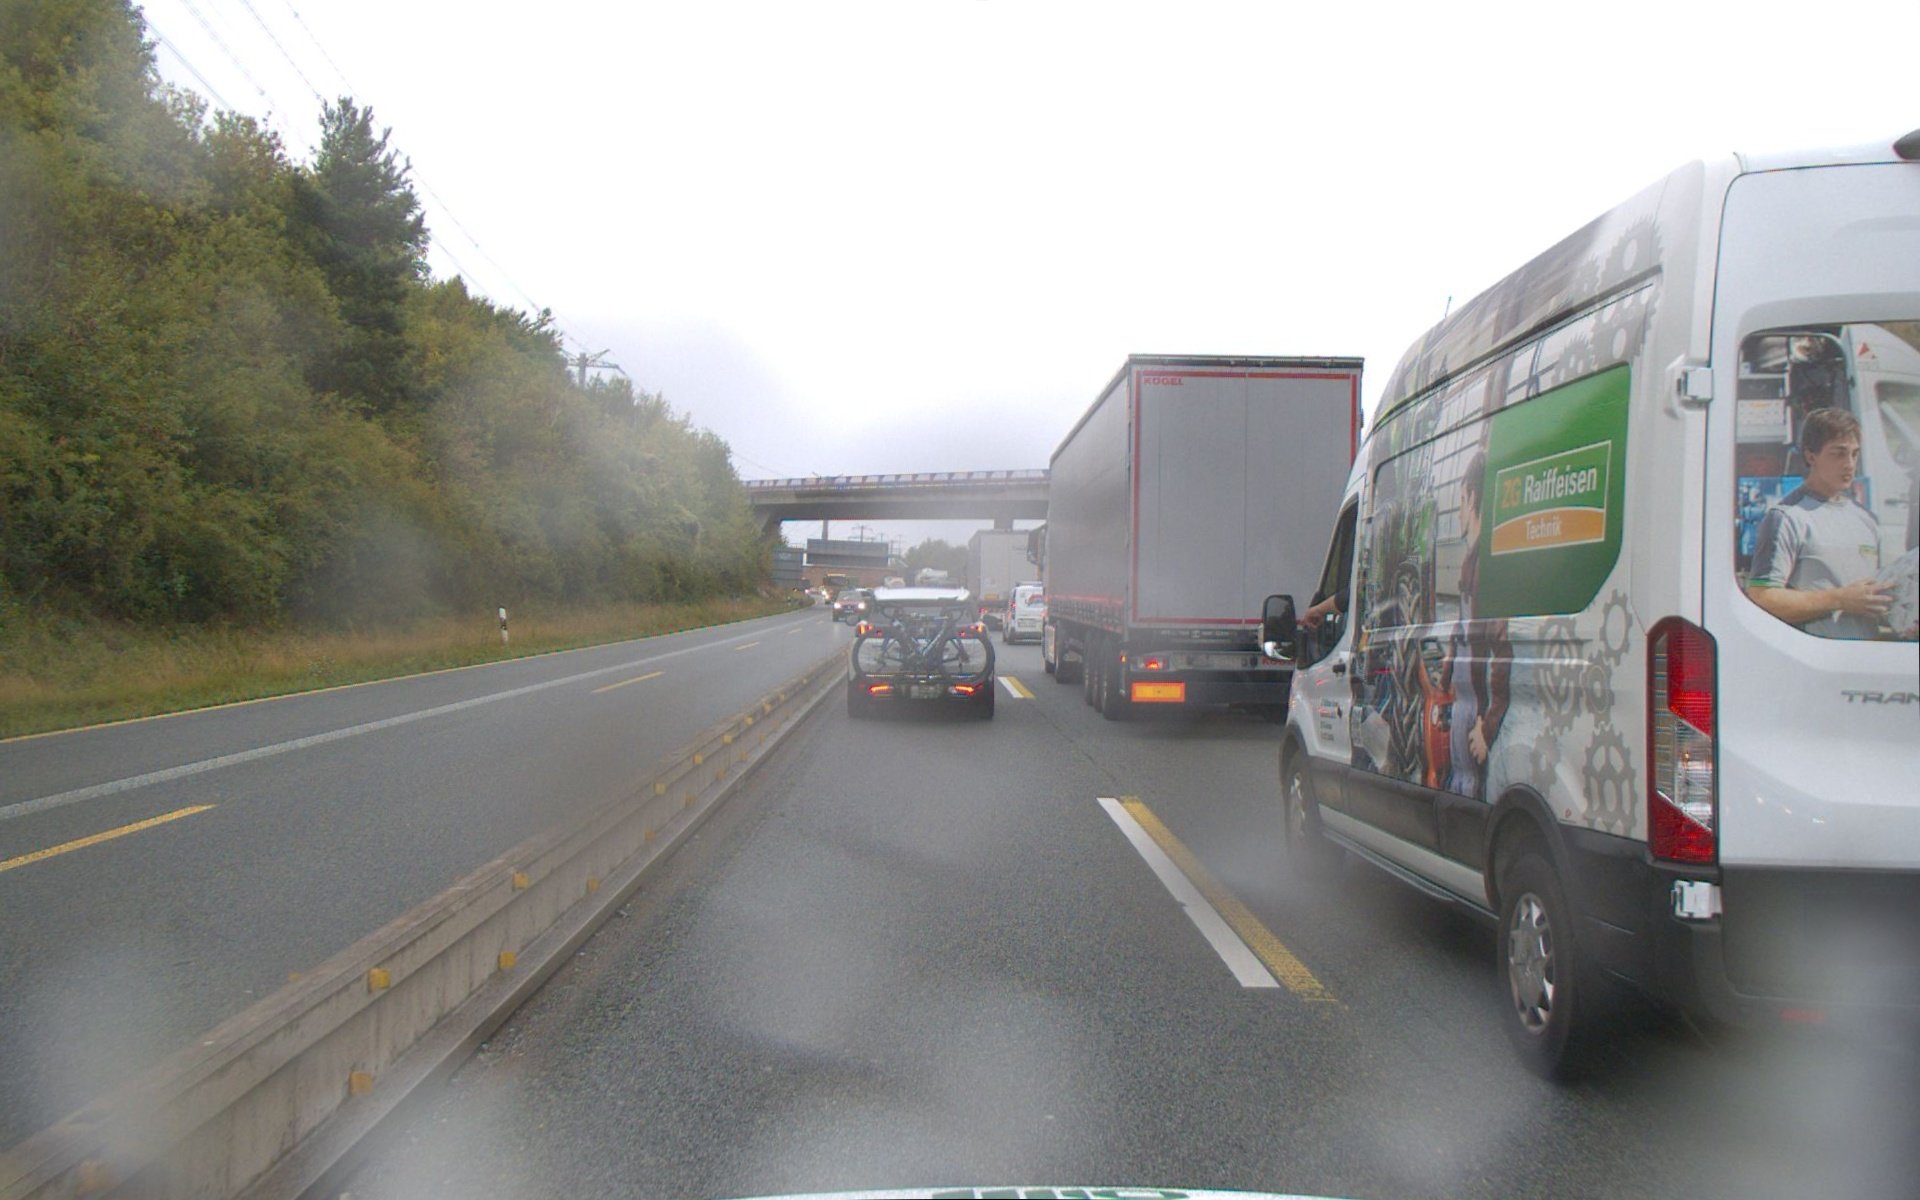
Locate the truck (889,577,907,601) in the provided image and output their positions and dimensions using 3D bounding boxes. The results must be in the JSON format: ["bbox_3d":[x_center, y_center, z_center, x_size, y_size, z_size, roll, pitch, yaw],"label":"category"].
[{"bbox_3d":[-9.315,-1.633,248.963,2.484,3.411,12.045,1,0,-2],"label":"truck"}]

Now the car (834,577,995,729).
[{"bbox_3d":[-0.498,0.596,20.731,1.773,1.666,4.635,1,0,0],"label":"car"}]

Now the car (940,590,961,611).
[{"bbox_3d":[-0.731,0.034,125.691,1.605,1.524,3.665,1,0,-1],"label":"car"}]

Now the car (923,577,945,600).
[{"bbox_3d":[-2.407,-1.033,152.220,1.953,2.049,3.999,1,0,-1],"label":"car"}]

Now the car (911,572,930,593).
[{"bbox_3d":[-4.245,-1.887,177.721,1.953,2.164,4.526,1,0,-1],"label":"car"}]

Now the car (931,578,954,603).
[{"bbox_3d":[-1.470,-0.777,138.502,1.953,2.049,3.999,1,0,-1],"label":"car"}]

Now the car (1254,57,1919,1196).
[{"bbox_3d":[2.842,0.081,7.026,2.100,2.723,6.117,1,0,0],"label":"car"}]

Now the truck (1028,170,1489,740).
[{"bbox_3d":[3.476,-1.450,27.098,3.898,5.772,20.375,1,0,0],"label":"truck"}]

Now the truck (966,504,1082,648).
[{"bbox_3d":[2.634,-0.922,77.231,4.646,5.772,20.375,1,0,0],"label":"truck"}]

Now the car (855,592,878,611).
[{"bbox_3d":[-8.485,0.146,150.364,1.773,1.661,4.117,1,0,0],"label":"car"}]

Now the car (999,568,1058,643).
[{"bbox_3d":[2.087,0.173,51.238,1.635,2.218,4.534,1,0,0],"label":"car"}]

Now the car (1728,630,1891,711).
[{"bbox_3d":[20.750,1.677,40.583,1.694,1.788,4.266,1,0,-2],"label":"car"}]

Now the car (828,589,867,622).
[{"bbox_3d":[-5.834,0.274,85.954,1.758,1.583,3.999,3,0,-1],"label":"car"}]

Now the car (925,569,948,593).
[{"bbox_3d":[-2.329,-1.893,165.309,2.194,2.347,4.571,1,0,-1],"label":"car"}]

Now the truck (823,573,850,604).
[{"bbox_3d":[-13.956,-1.240,187.975,2.484,3.411,12.045,1,0,-2],"label":"truck"}]

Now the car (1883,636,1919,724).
[{"bbox_3d":[20.914,1.692,33.684,1.694,1.800,4.328,1,0,-2],"label":"car"}]

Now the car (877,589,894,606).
[{"bbox_3d":[-8.349,-0.305,185.378,1.774,1.856,4.633,1,0,-3],"label":"car"}]

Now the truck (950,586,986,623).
[{"bbox_3d":[0.429,0.243,95.087,1.953,2.049,3.999,1,0,-1],"label":"truck"}]
